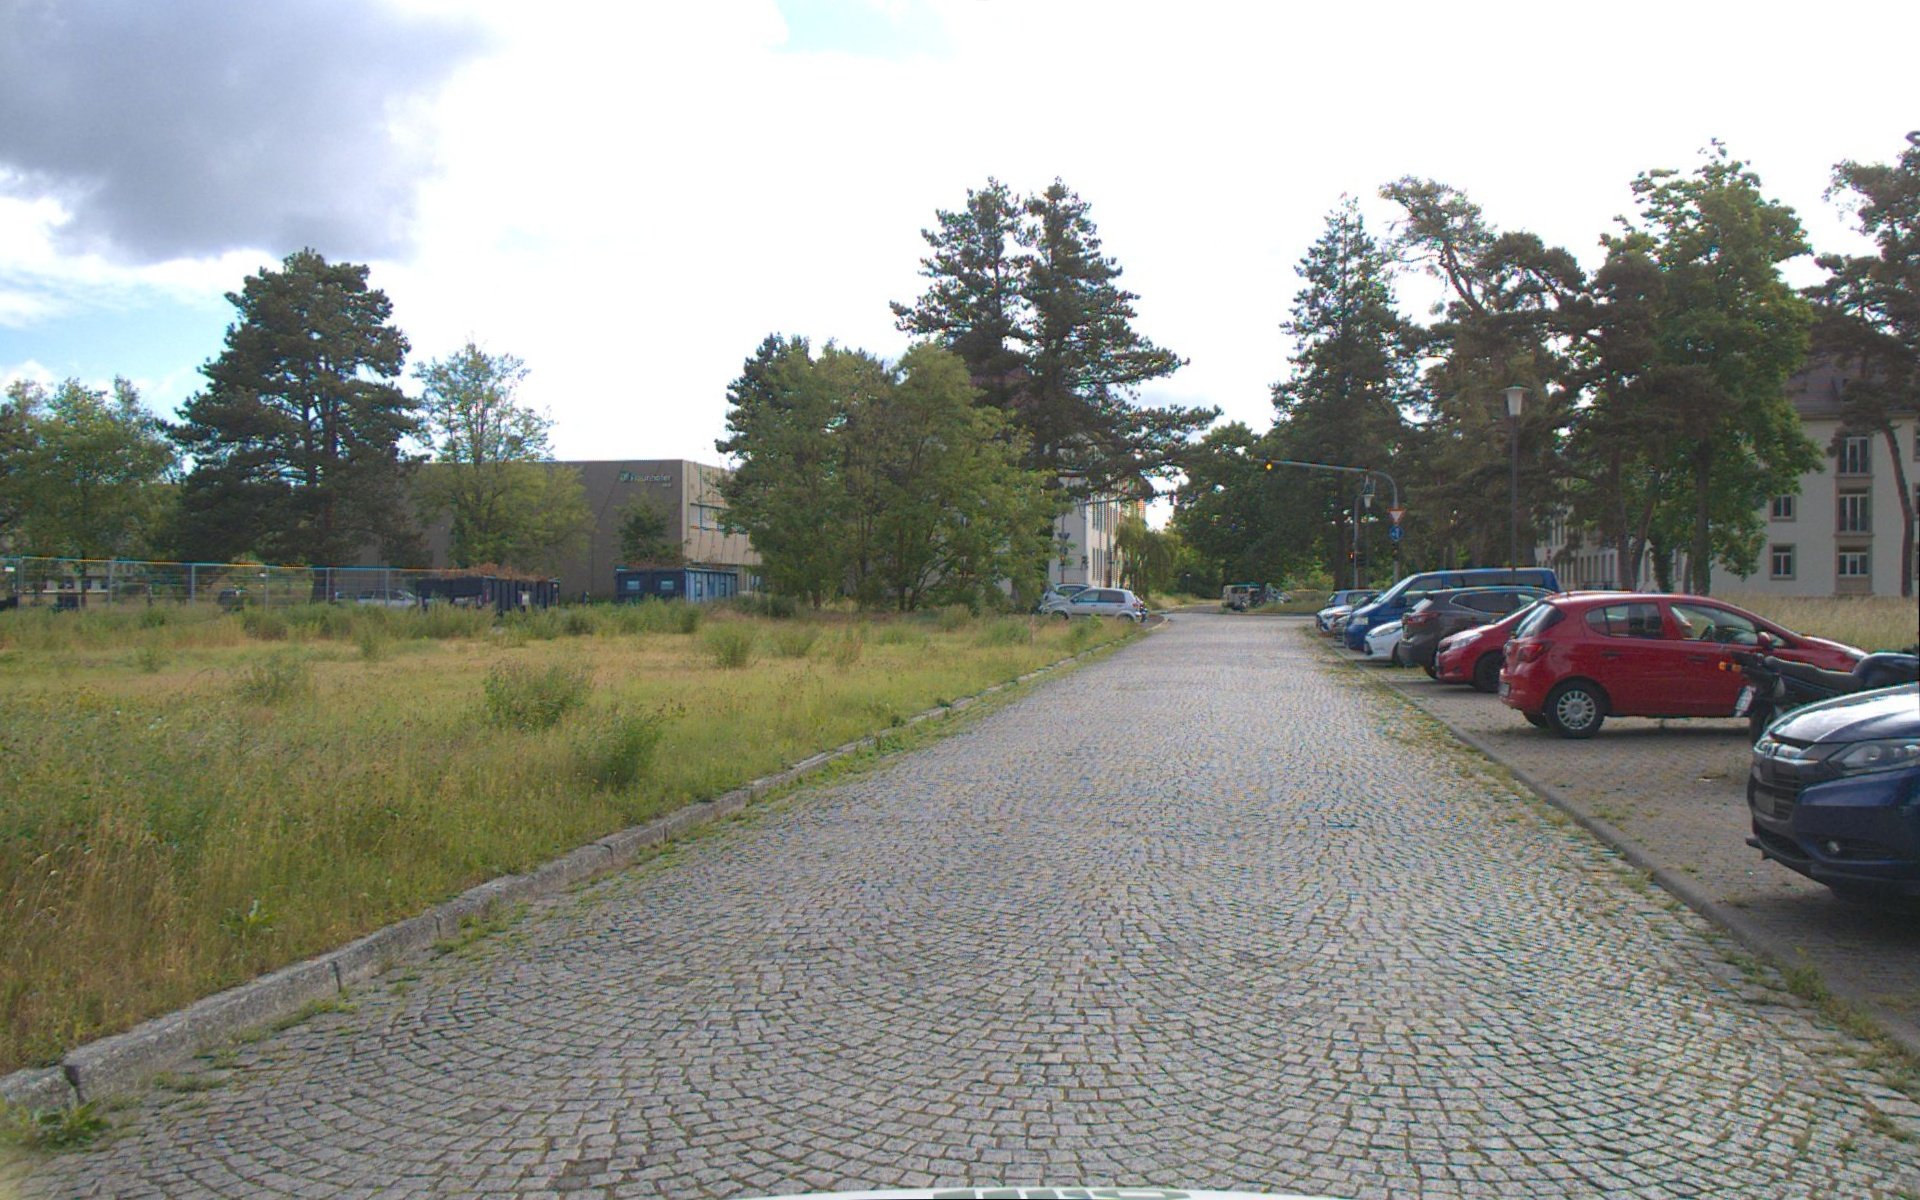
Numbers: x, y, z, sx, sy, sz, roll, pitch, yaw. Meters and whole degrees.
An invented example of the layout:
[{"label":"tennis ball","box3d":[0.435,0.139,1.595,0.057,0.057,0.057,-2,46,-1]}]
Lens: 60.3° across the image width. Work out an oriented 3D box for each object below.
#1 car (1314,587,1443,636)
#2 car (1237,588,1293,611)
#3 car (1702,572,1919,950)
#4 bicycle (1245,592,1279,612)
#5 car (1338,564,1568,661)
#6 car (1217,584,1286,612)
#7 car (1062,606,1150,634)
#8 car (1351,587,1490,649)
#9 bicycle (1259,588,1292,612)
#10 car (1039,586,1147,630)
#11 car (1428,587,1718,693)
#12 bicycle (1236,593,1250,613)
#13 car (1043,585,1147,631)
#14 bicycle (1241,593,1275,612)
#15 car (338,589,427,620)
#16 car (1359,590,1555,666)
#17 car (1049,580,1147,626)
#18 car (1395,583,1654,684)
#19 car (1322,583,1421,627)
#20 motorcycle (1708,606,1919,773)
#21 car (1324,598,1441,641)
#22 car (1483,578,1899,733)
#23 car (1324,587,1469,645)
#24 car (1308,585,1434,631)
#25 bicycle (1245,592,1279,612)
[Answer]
[{"label":"car","box3d":[13.867,0.368,54.939,3.903,1.570,1.665,0,0,4]},{"label":"car","box3d":[22.731,-0.020,123.399,3.903,1.673,2.001,0,0,4]},{"label":"car","box3d":[5.947,0.644,7.709,4.172,1.601,1.897,-1,0,9]},{"label":"bicycle","box3d":[19.918,0.147,109.110,2.115,1.290,0.813,0,0,3]},{"label":"car","box3d":[10.872,0.265,36.733,4.680,2.075,1.739,0,0,8]},{"label":"car","box3d":[22.348,-0.153,126.795,4.947,2.049,2.000,0,0,-1]},{"label":"car","box3d":[6.060,0.811,68.849,3.593,1.113,1.647,0,0,4]},{"label":"car","box3d":[11.670,0.449,42.066,3.222,1.531,1.665,0,0,8]},{"label":"bicycle","box3d":[21.029,-0.004,110.235,2.115,1.644,0.813,0,0,3]},{"label":"car","box3d":[4.905,0.276,61.139,3.903,1.579,2.001,0,0,4]},{"label":"car","box3d":[9.271,0.574,25.293,3.902,1.545,1.740,0,0,10]},{"label":"bicycle","box3d":[18.079,0.197,105.610,0.792,1.290,1.975,0,0,11]},{"label":"car","box3d":[5.178,0.298,63.658,3.903,1.735,2.001,0,0,4]},{"label":"bicycle","box3d":[19.986,0.154,110.927,2.115,1.290,0.813,0,0,3]},{"label":"car","box3d":[-29.599,0.236,84.860,3.902,1.580,1.810,0,0,9]},{"label":"car","box3d":[10.254,0.565,34.318,3.643,1.449,1.656,-1,0,7]},{"label":"car","box3d":[5.535,0.109,66.649,3.903,1.780,1.928,0,0,3]},{"label":"car","box3d":[9.408,0.530,27.811,3.866,1.608,1.763,0,0,8]},{"label":"car","box3d":[14.944,0.173,60.217,3.317,1.570,1.392,0,0,4]},{"label":"motorcycle","box3d":[7.286,0.707,13.318,2.216,1.297,0.606,-1,0,5]},{"label":"car","box3d":[12.873,0.591,50.555,3.223,1.289,1.665,0,0,4]},{"label":"car","box3d":[7.739,0.574,17.829,3.757,1.532,1.739,-1,0,9]},{"label":"car","box3d":[11.849,0.415,45.050,3.524,1.533,1.664,0,0,-1]},{"label":"car","box3d":[14.295,0.282,57.719,4.036,1.570,1.665,0,0,4]},{"label":"bicycle","box3d":[20.012,0.150,109.690,2.115,1.290,0.813,0,0,3]}]
